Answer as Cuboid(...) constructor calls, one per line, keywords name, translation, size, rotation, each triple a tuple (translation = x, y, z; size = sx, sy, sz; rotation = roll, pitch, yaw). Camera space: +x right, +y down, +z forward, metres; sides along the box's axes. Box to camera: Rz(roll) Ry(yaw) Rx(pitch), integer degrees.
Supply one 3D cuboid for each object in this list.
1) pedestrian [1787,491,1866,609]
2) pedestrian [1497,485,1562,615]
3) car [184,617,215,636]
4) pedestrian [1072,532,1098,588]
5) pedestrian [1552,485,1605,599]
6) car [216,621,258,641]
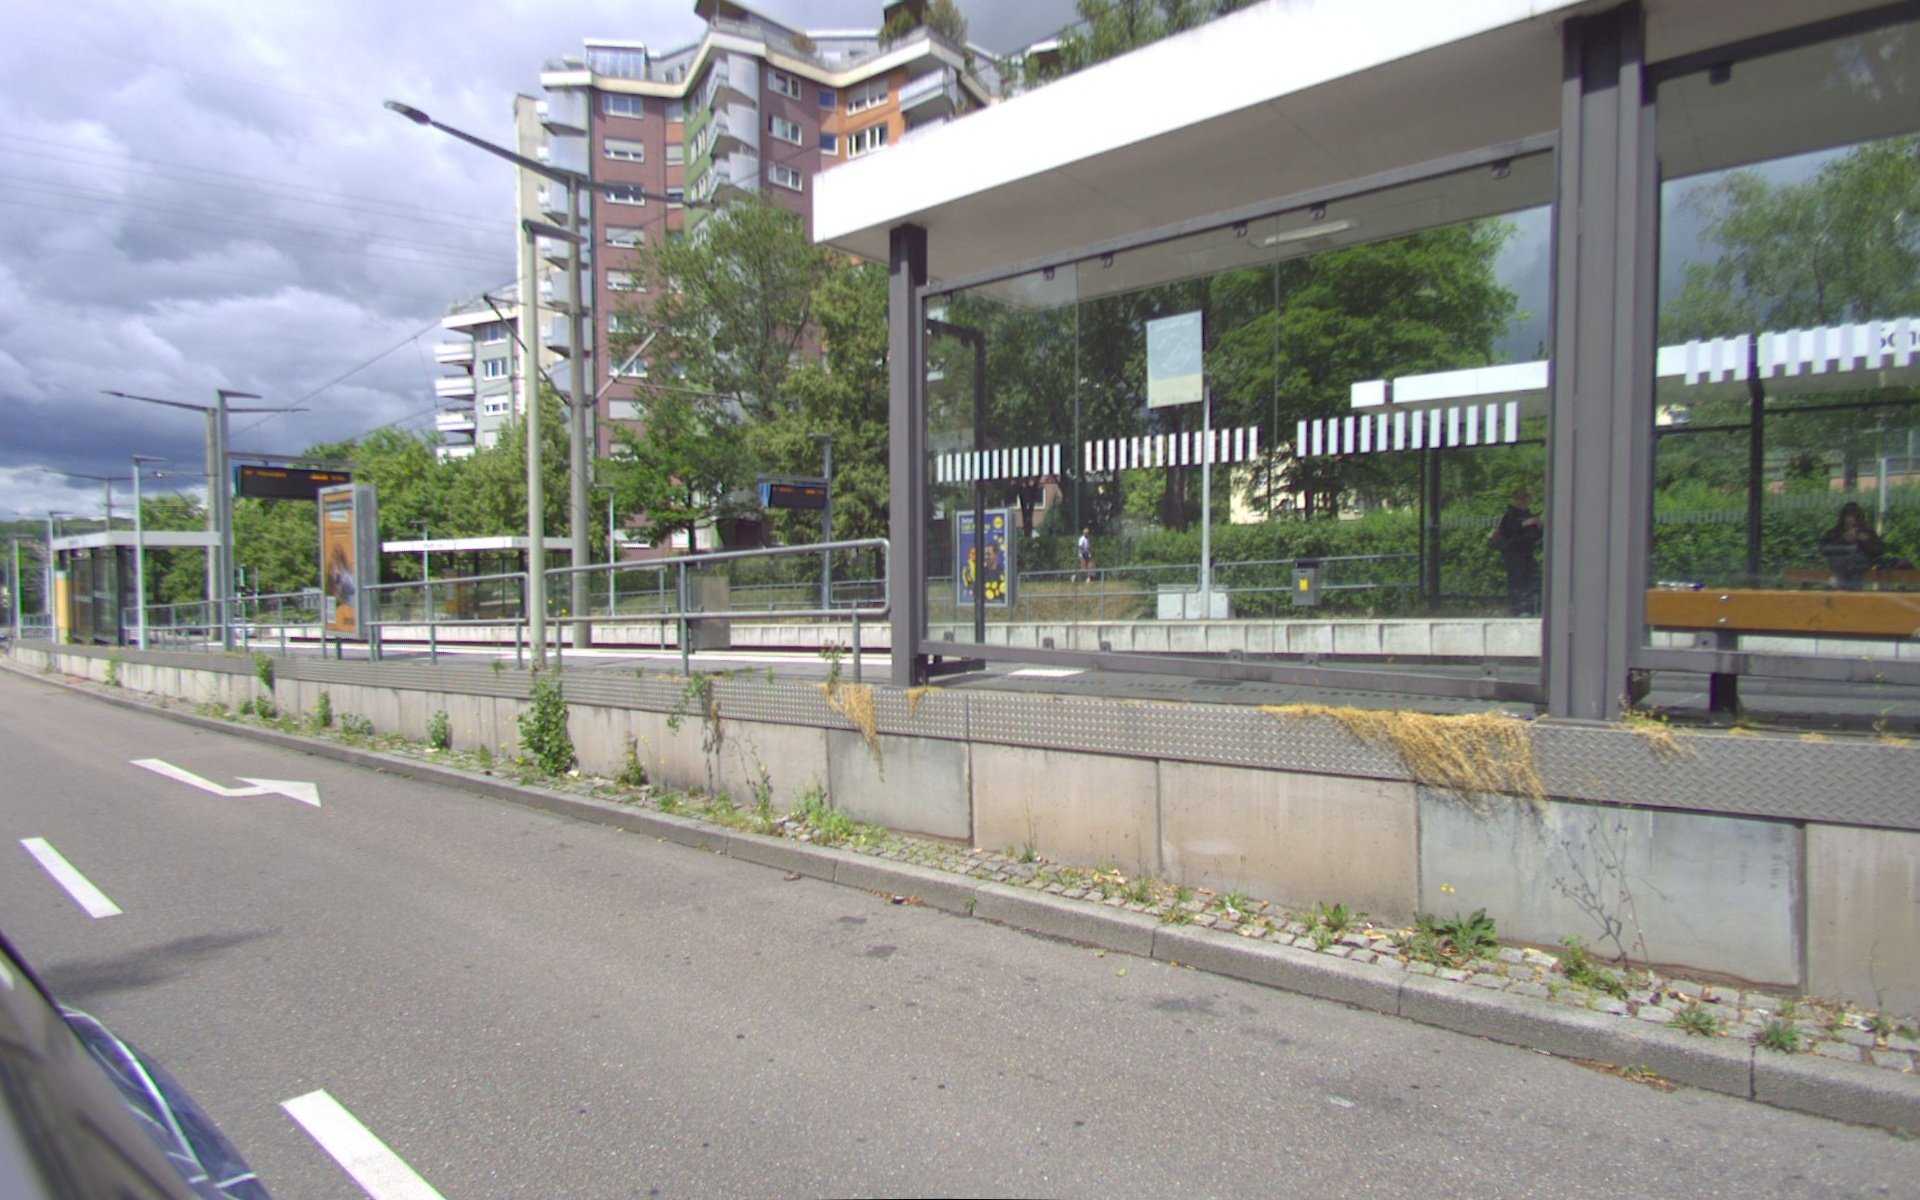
Cuboid(name="pedestrian", translation=(9.545, -0.534, 11.165), size=(0.541, 1.246, 0.516), rotation=(-1, -1, 29))
Cuboid(name="pedestrian", translation=(7.461, -0.638, 13.285), size=(0.558, 1.657, 0.520), rotation=(-1, -1, 9))
Cuboid(name="car", translation=(-64.411, 2.210, 85.714), size=(1.635, 1.524, 3.739), rotation=(-1, -1, -45))
Cuboid(name="pedestrian", translation=(3.967, -1.257, 32.056), size=(0.504, 1.725, 0.643), rotation=(-2, -1, 41))
Cuboid(name="pedestrian", translation=(7.798, -0.716, 12.761), size=(0.520, 1.390, 0.537), rotation=(2, 1, 32))
Cuboid(name="car", translation=(-52.677, 2.259, 73.695), size=(3.998, 1.429, 1.637), rotation=(-2, -1, 42))
